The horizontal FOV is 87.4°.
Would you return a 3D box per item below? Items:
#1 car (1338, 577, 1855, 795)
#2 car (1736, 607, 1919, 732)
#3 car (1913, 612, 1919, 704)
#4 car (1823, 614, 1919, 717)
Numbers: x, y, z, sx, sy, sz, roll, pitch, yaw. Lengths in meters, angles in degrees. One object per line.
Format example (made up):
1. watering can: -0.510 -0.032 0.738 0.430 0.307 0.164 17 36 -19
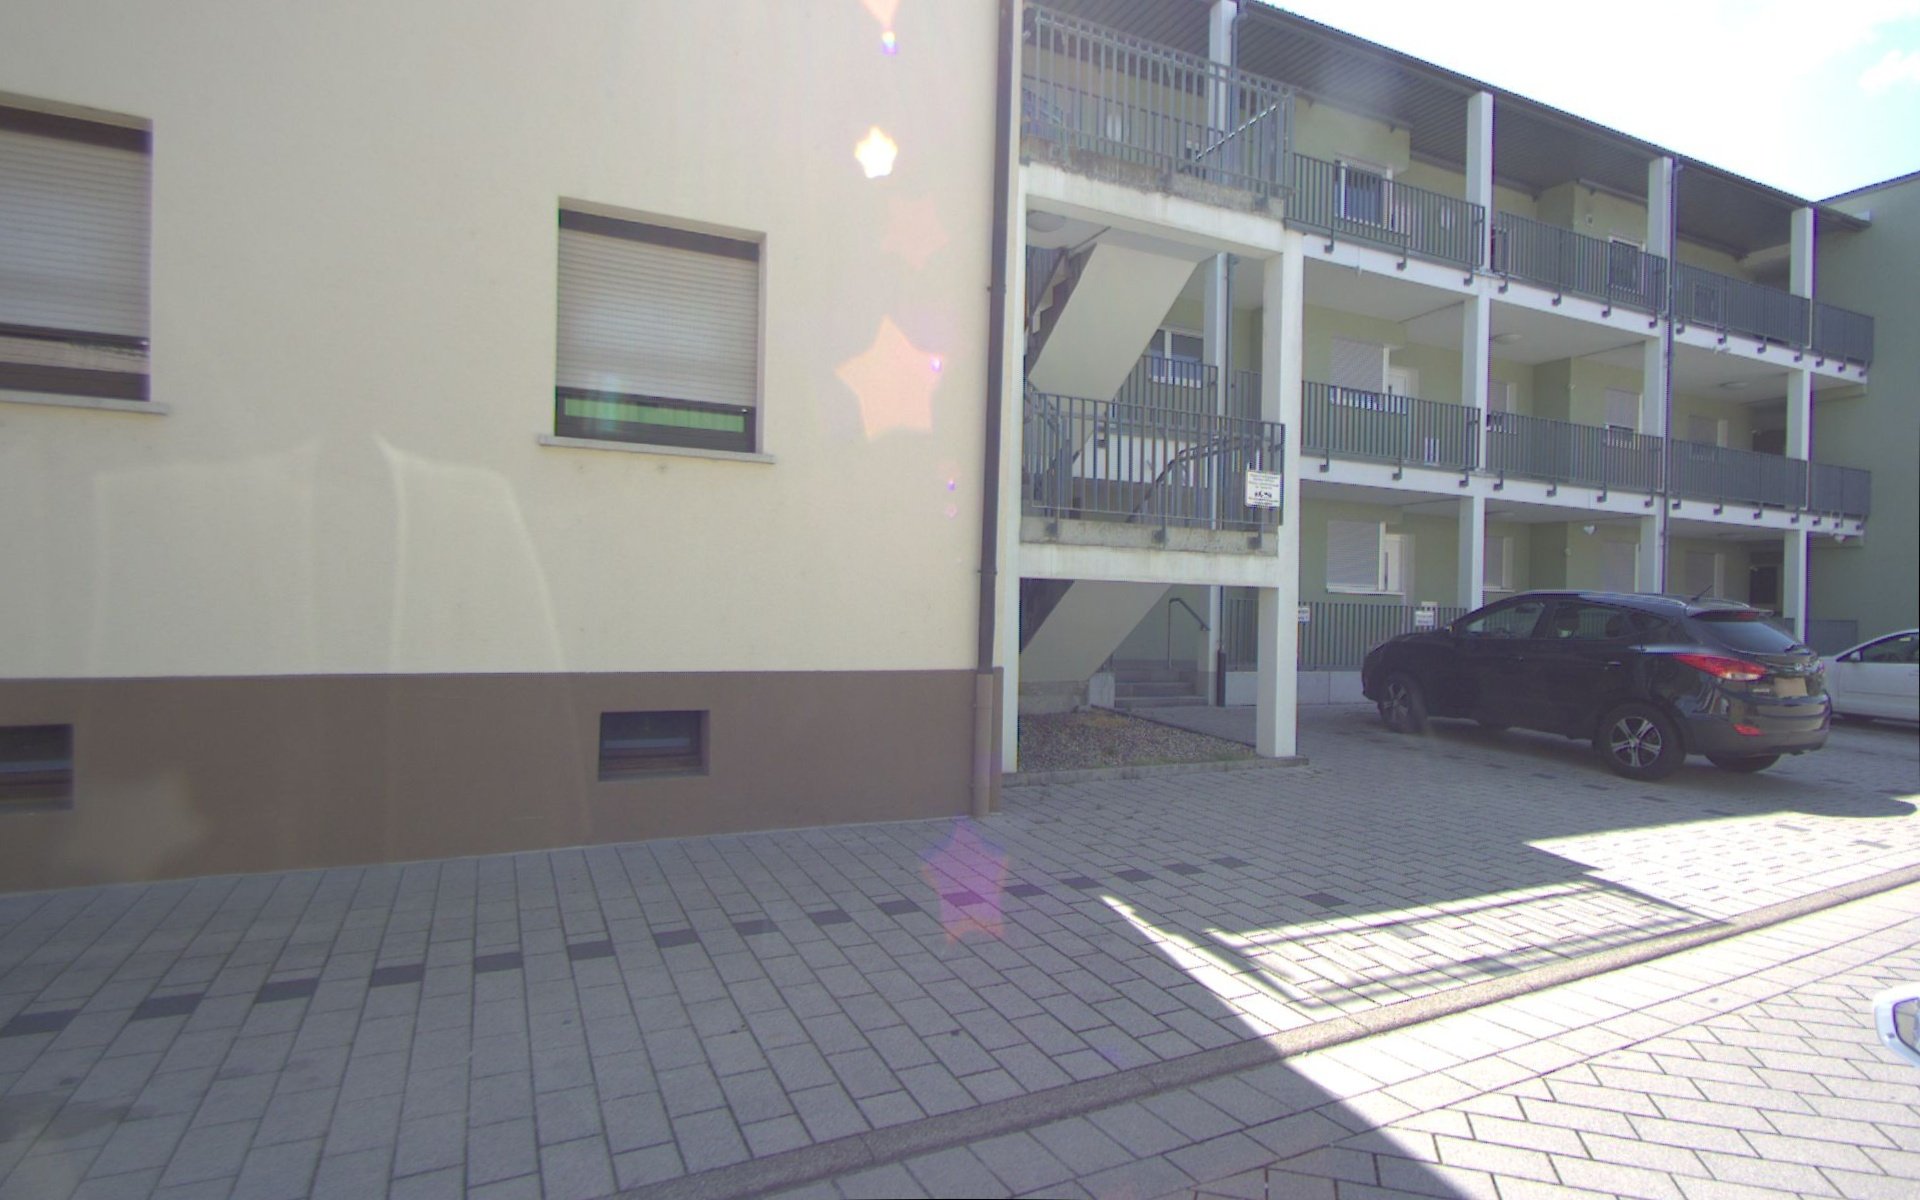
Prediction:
1. car: 6.242 0.681 10.469 1.761 1.681 4.205 1 2 -26
2. car: 13.339 0.987 13.768 1.726 1.523 3.890 1 2 -23
3. car: 17.764 1.087 15.755 1.649 1.546 3.681 1 2 -24
4. car: 15.513 1.087 14.715 1.668 1.461 3.974 2 3 -25
